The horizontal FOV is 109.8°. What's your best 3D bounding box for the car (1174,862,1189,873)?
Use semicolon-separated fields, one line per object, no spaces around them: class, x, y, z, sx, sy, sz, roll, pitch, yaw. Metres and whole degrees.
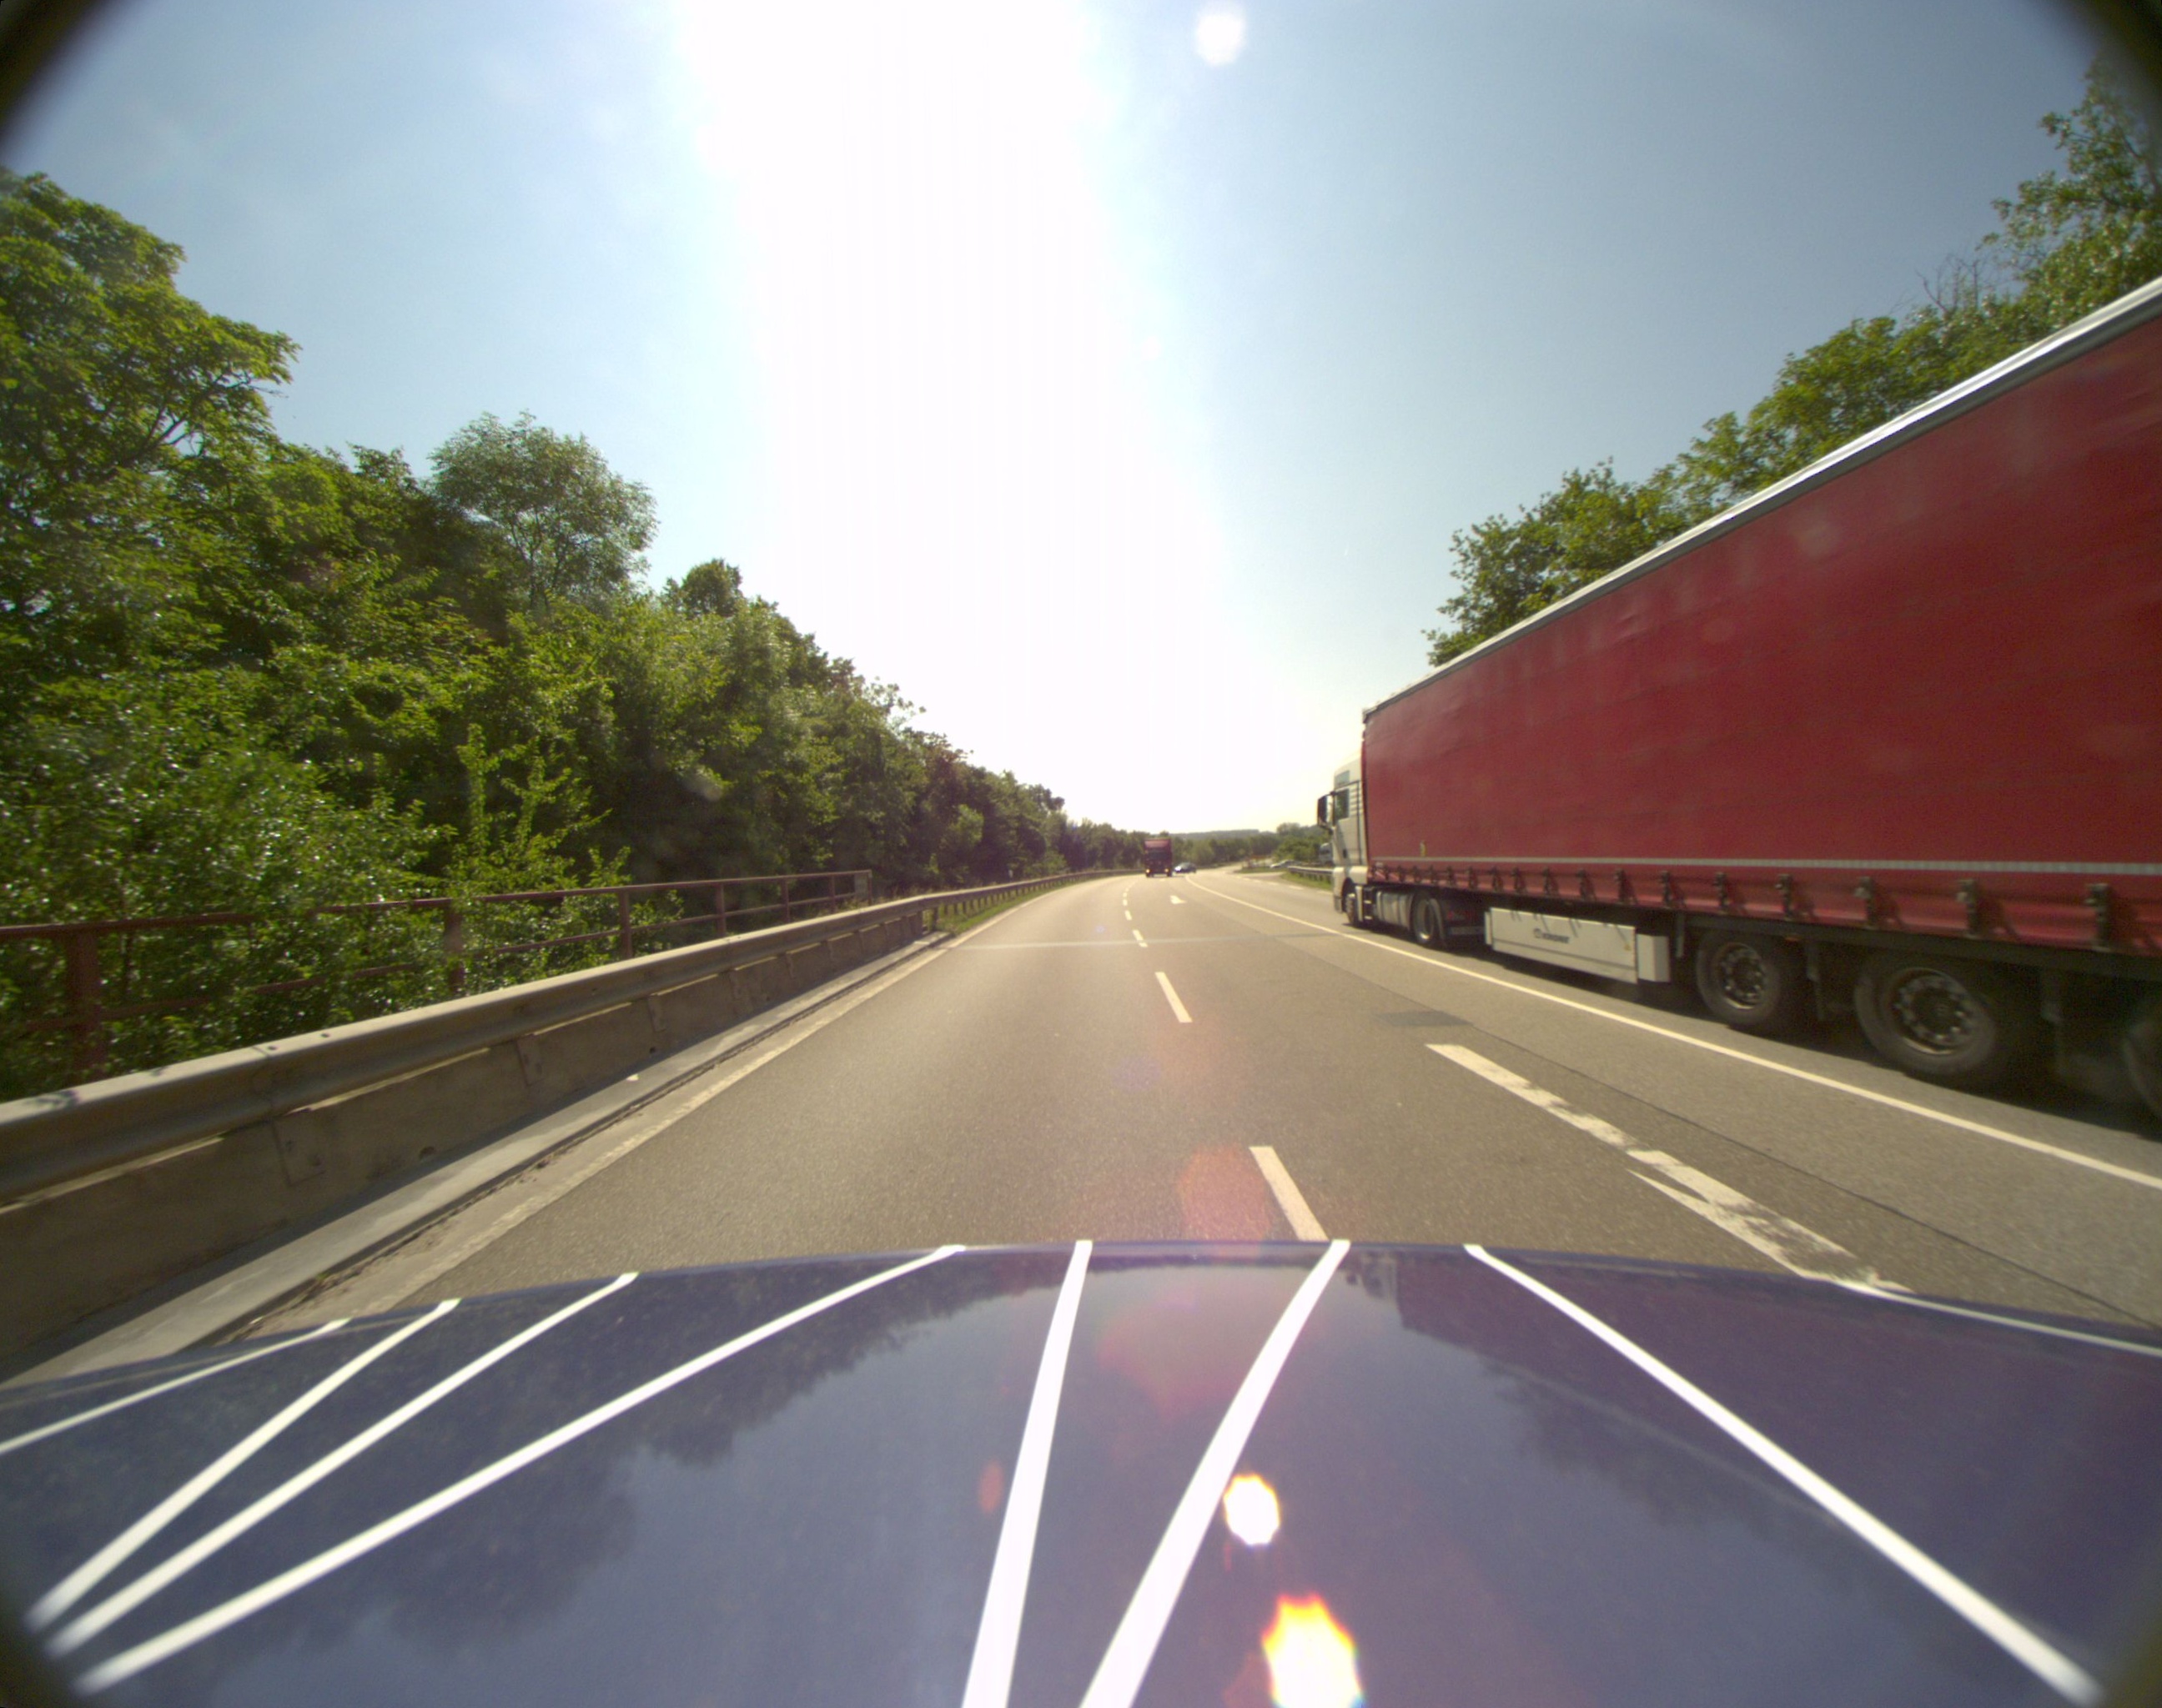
car;13.453;1.766;101.391;1.786;1.406;4.003;-2;-1;9

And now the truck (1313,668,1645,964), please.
truck;6.370;-0.511;13.381;2.775;4.010;5.855;-1;0;1

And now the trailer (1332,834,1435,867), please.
trailer;44.693;-0.511;112.770;13.956;4.216;2.933;-2;2;14

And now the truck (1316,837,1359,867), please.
truck;38.556;-0.288;114.259;5.722;4.214;2.943;-2;2;13

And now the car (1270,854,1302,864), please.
car;29.953;0.747;111.068;4.371;1.377;1.790;-2;-1;12

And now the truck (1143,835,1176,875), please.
truck;7.759;0.142;74.372;2.687;3.639;9.270;-2;-1;9

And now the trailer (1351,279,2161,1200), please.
trailer;6.200;-0.508;6.735;2.775;4.038;14.201;-1;0;1
